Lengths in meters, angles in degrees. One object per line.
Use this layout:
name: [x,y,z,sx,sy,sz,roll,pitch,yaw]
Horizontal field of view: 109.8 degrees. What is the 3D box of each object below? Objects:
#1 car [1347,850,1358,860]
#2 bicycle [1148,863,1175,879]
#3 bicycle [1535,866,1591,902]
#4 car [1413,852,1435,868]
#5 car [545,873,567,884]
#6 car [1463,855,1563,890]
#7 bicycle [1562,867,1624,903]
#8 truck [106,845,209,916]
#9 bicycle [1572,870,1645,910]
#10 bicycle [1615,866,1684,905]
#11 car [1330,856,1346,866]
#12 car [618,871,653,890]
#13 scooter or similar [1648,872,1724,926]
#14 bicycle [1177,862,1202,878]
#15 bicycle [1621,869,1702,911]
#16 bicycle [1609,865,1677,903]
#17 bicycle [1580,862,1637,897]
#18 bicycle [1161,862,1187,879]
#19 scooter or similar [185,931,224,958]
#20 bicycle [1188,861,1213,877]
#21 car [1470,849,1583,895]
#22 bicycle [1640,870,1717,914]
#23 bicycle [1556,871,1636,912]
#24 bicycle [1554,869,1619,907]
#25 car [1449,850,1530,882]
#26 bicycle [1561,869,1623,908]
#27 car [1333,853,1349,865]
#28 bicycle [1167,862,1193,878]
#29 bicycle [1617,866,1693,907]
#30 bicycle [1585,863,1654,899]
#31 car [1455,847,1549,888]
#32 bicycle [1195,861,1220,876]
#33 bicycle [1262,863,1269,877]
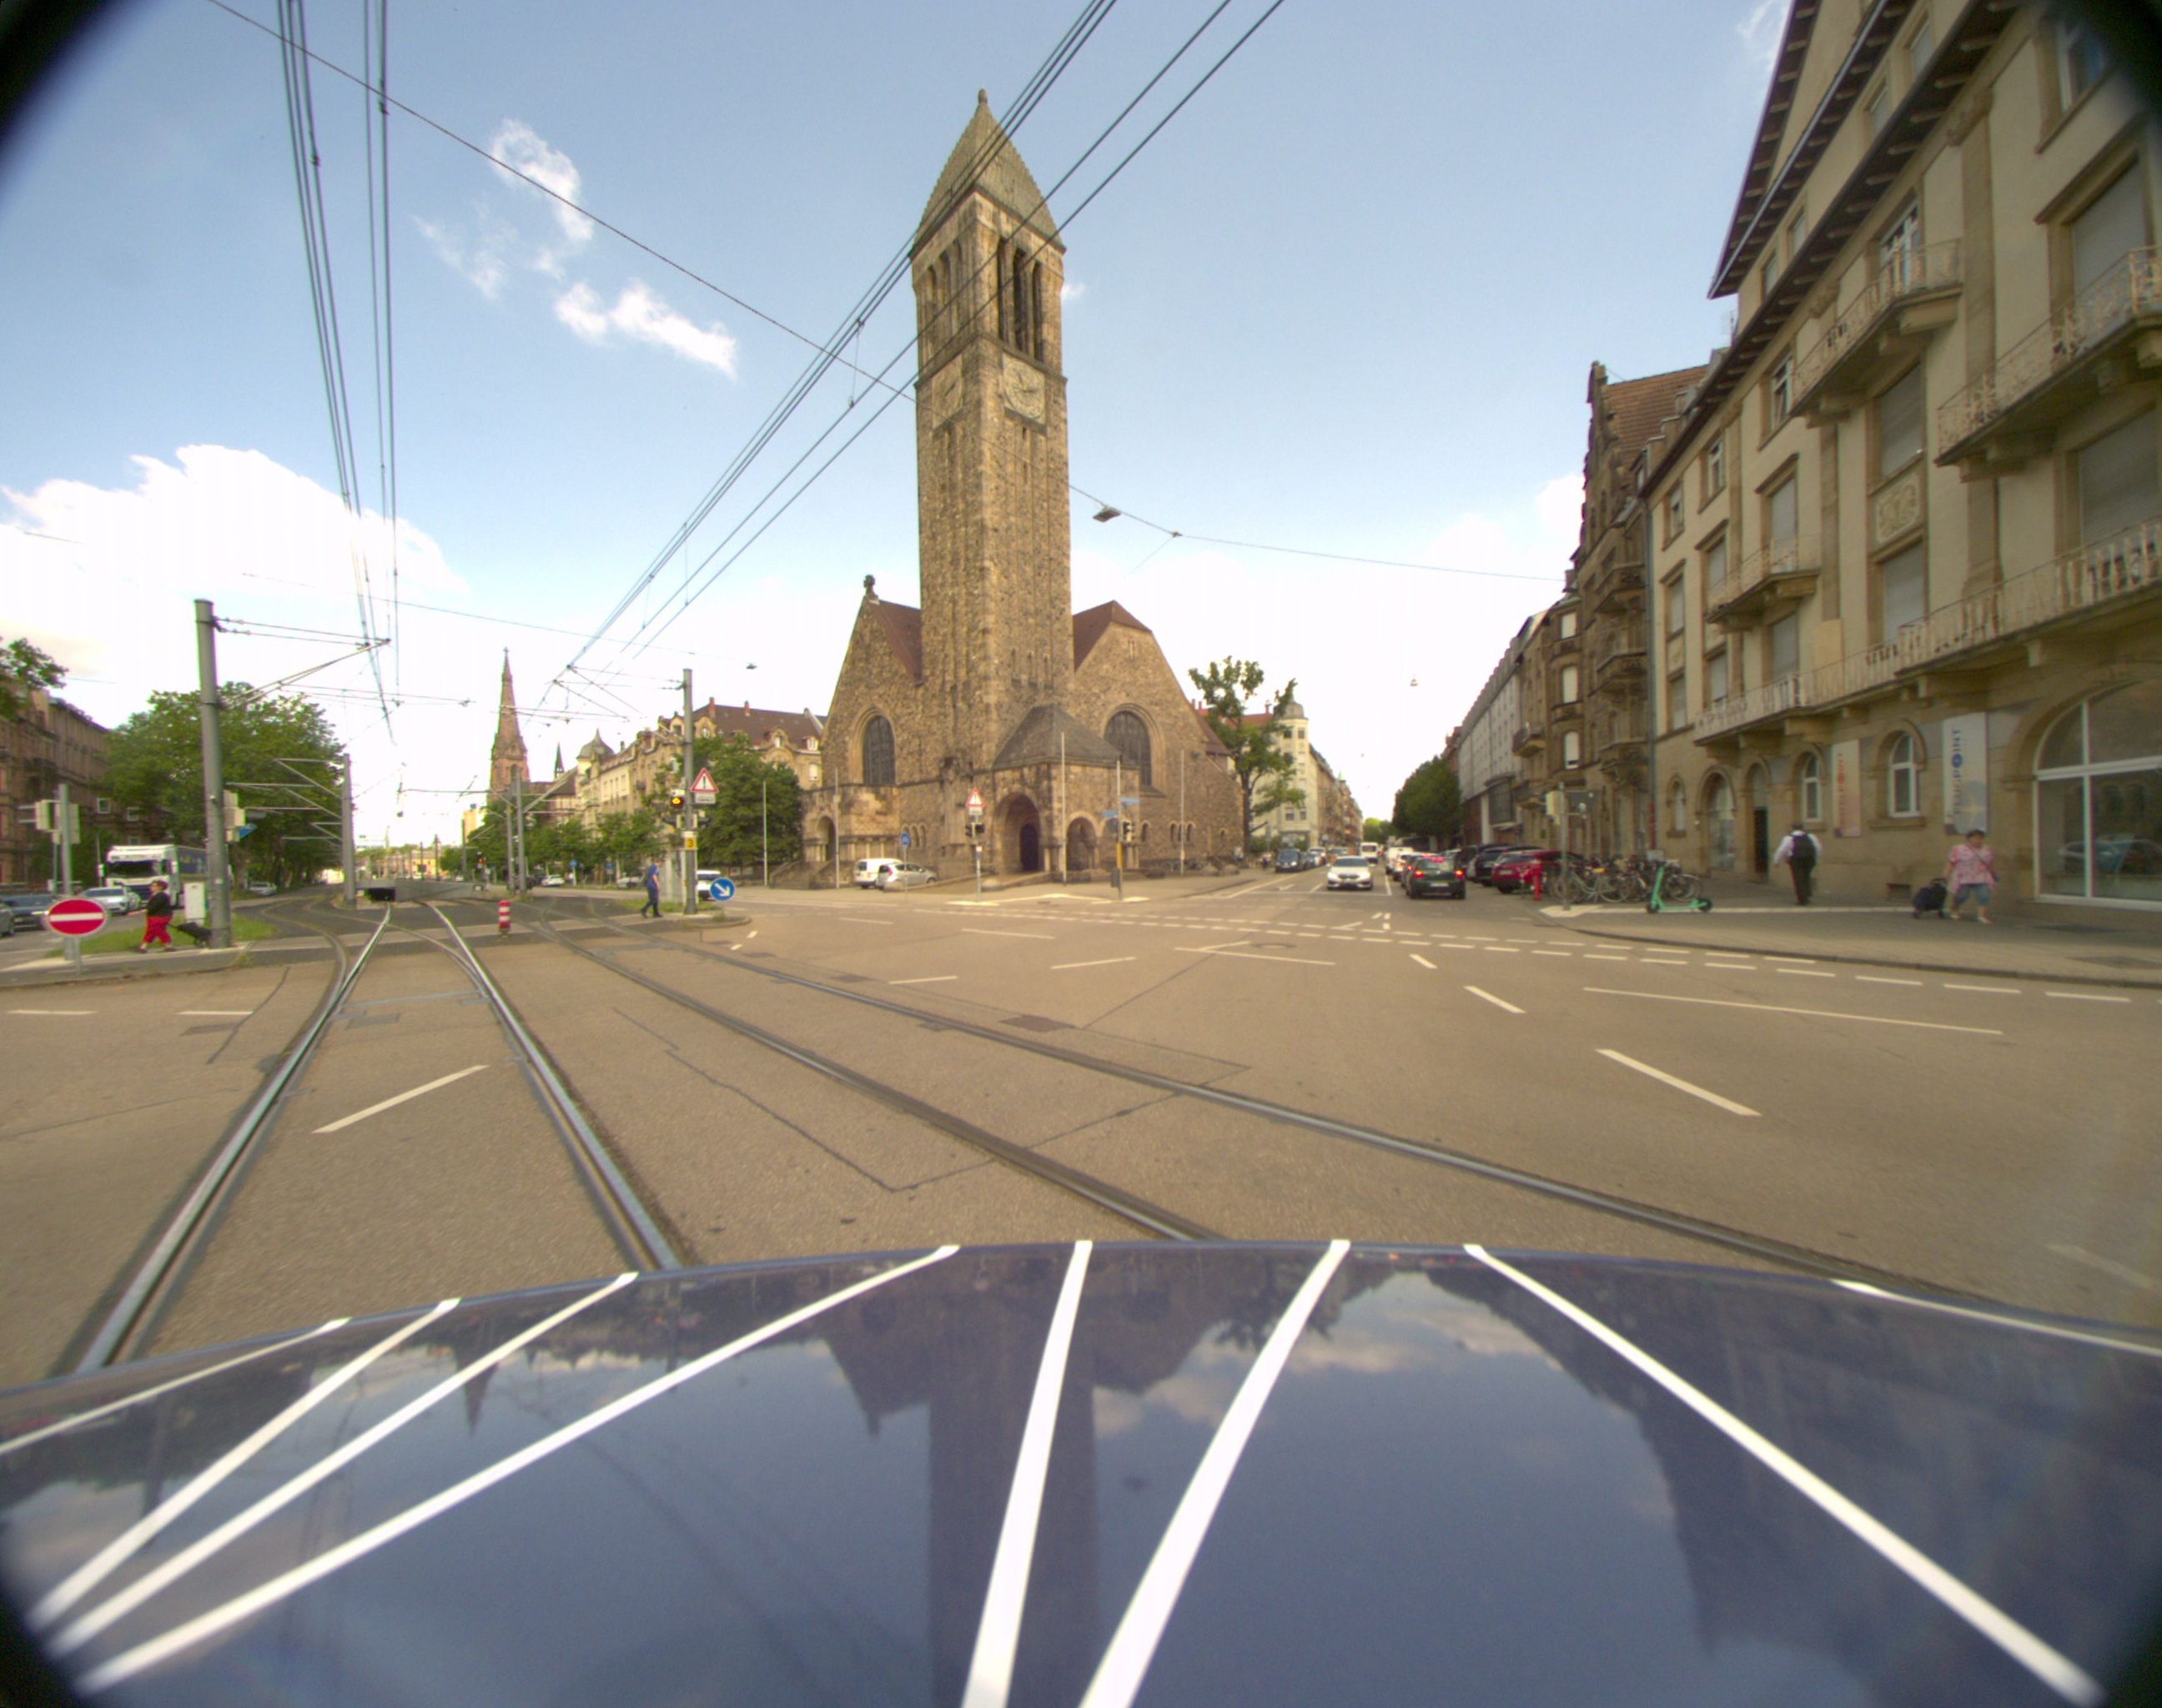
car: [54.495,0.180,152.294,1.806,1.901,4.193,-1,0,23]
bicycle: [5.938,1.257,56.111,1.933,1.106,0.588,3,4,43]
bicycle: [15.413,0.946,24.279,1.814,1.045,0.557,-2,-1,-23]
car: [34.536,0.583,76.544,1.888,1.556,3.897,-1,0,23]
car: [-63.499,2.989,91.897,1.659,1.226,3.055,-2,0,-43]
car: [20.322,0.887,35.781,3.956,1.420,1.730,-3,-2,-16]
bicycle: [15.647,0.953,23.240,1.481,1.045,0.463,-2,-1,19]
truck: [-57.541,1.538,47.542,2.923,4.125,6.572,-2,1,-41]
bicycle: [14.644,1.007,21.134,1.578,1.045,0.481,-3,-1,30]
bicycle: [16.206,0.912,21.690,1.481,1.045,0.463,-3,-1,23]
car: [35.401,0.964,104.541,1.806,1.360,4.193,-1,0,23]
car: [-38.362,2.266,65.426,1.793,1.486,3.827,-2,0,-43]
scooter or similar: [13.412,0.998,16.863,1.250,1.139,0.482,-3,0,40]
bicycle: [8.325,1.194,58.384,1.933,1.106,0.588,3,4,43]
bicycle: [15.383,0.950,20.167,1.610,1.045,0.481,-3,-1,30]
bicycle: [16.446,0.882,22.261,1.481,1.045,0.463,-3,-1,19]
bicycle: [17.500,0.833,25.182,1.906,1.045,0.557,-2,-1,-22]
bicycle: [7.014,1.227,57.268,1.933,1.106,0.588,3,4,43]
scooter or similar: [-19.312,1.989,16.746,0.309,0.532,0.522,-1,-1,35]
bicycle: [9.372,1.165,59.541,1.933,1.106,0.588,3,4,43]
car: [18.810,0.754,32.125,3.957,1.679,1.801,-3,-2,-17]
bicycle: [15.022,0.953,19.147,1.439,1.045,0.481,-3,-1,32]
bicycle: [13.965,1.033,20.632,1.732,1.045,0.532,-3,-1,38]
bicycle: [14.827,1.006,22.327,1.481,1.045,0.463,-3,-1,23]
car: [23.720,0.704,44.143,3.956,1.576,1.729,-4,0,-17]
bicycle: [14.691,1.006,21.884,1.370,1.045,0.418,-4,-1,21]
car: [37.183,0.755,108.589,1.806,1.675,4.193,-1,0,23]
bicycle: [7.521,1.214,57.777,1.933,1.106,0.588,3,4,43]
bicycle: [15.886,0.907,21.073,1.578,1.045,0.481,-3,-1,30]
bicycle: [16.632,0.828,23.496,1.628,1.045,0.559,-3,-1,21]
car: [21.487,0.684,38.796,3.955,1.857,1.730,-3,0,-11]
bicycle: [9.962,1.149,60.091,1.933,1.106,0.588,3,4,43]
bicycle: [14.969,1.302,61.665,0.479,1.046,1.445,-1,0,17]
